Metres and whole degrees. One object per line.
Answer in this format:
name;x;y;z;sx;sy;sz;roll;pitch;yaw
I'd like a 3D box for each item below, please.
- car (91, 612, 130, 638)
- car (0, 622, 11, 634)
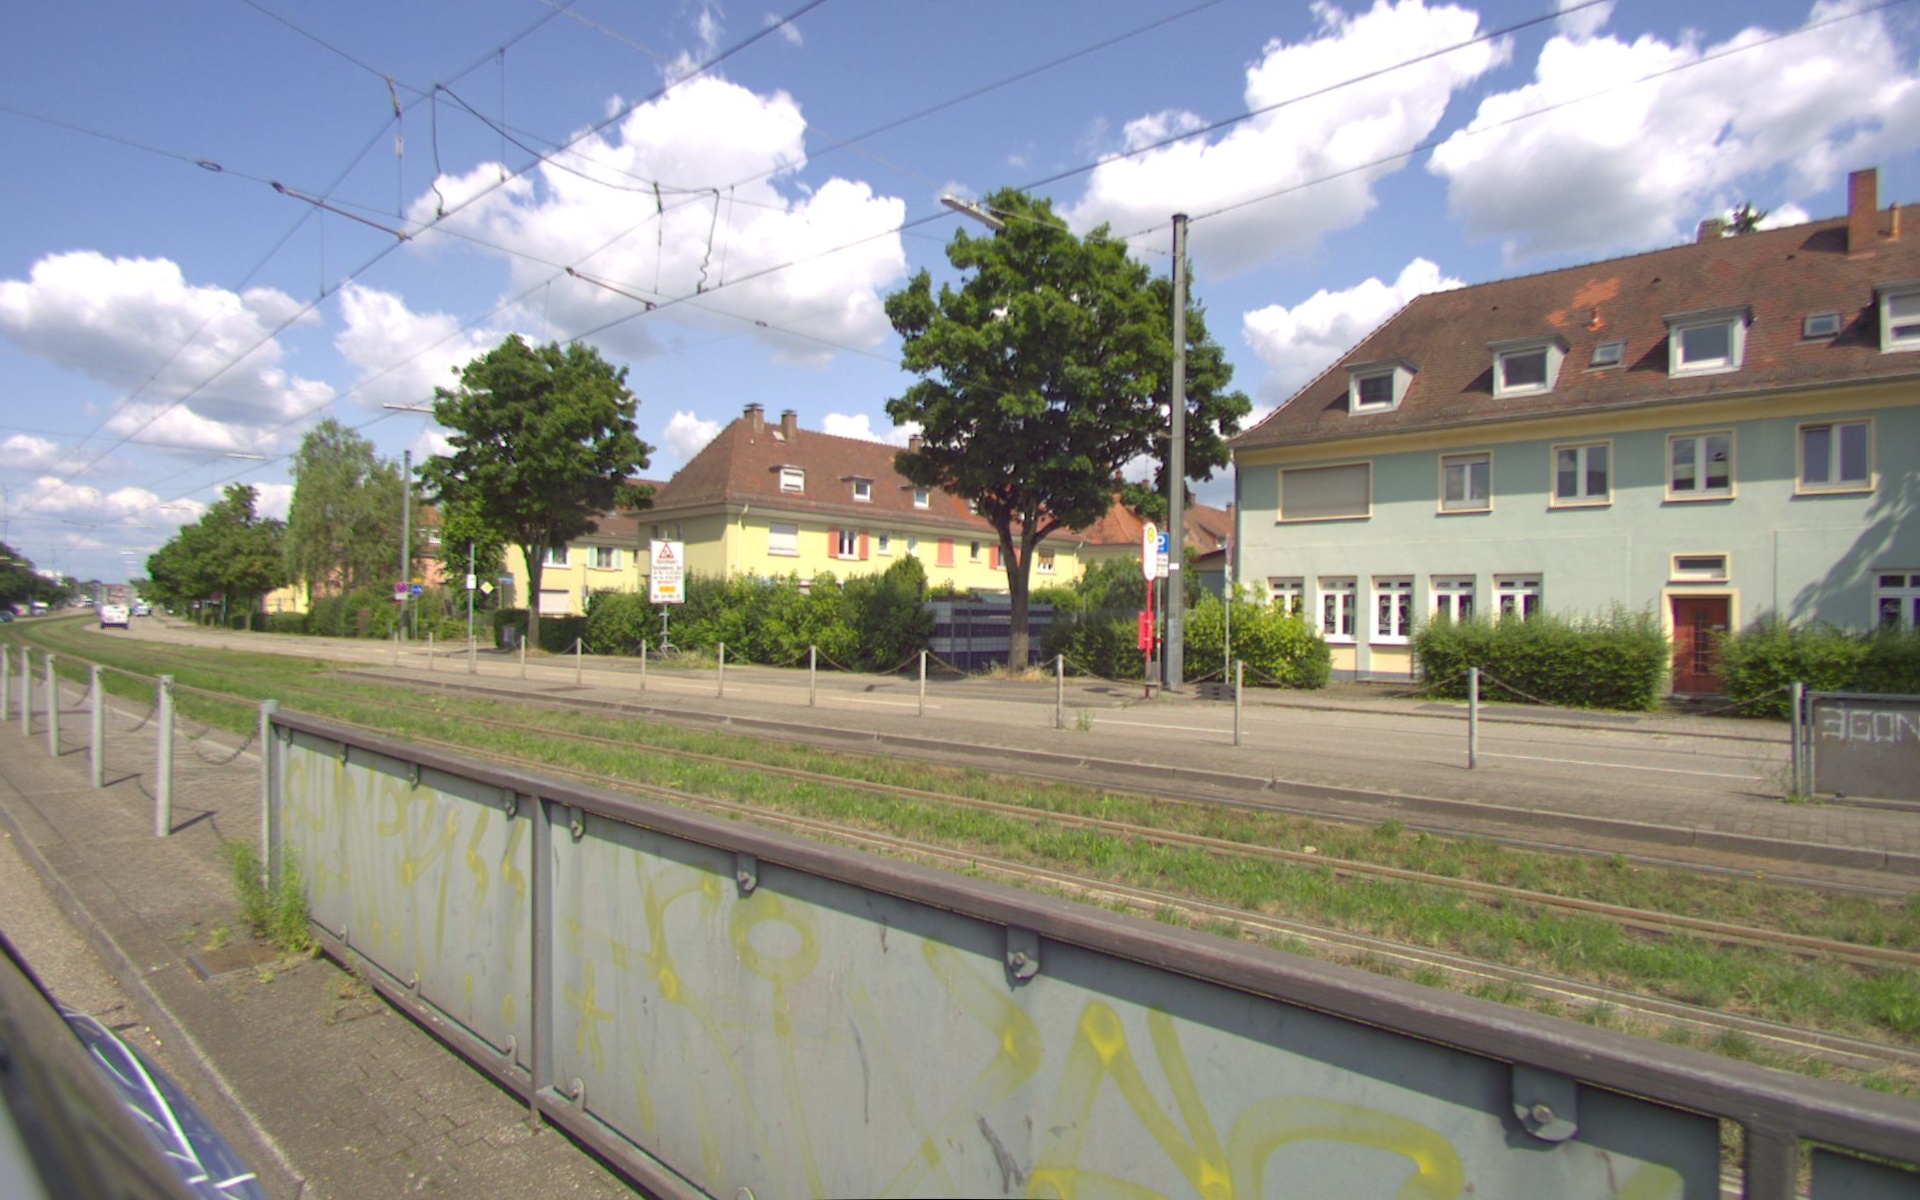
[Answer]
car;-82.383;2.416;98.095;5.332;2.390;2.172;0;-3;43
car;-116.470;3.394;122.614;1.969;1.497;4.006;0;0;-41
